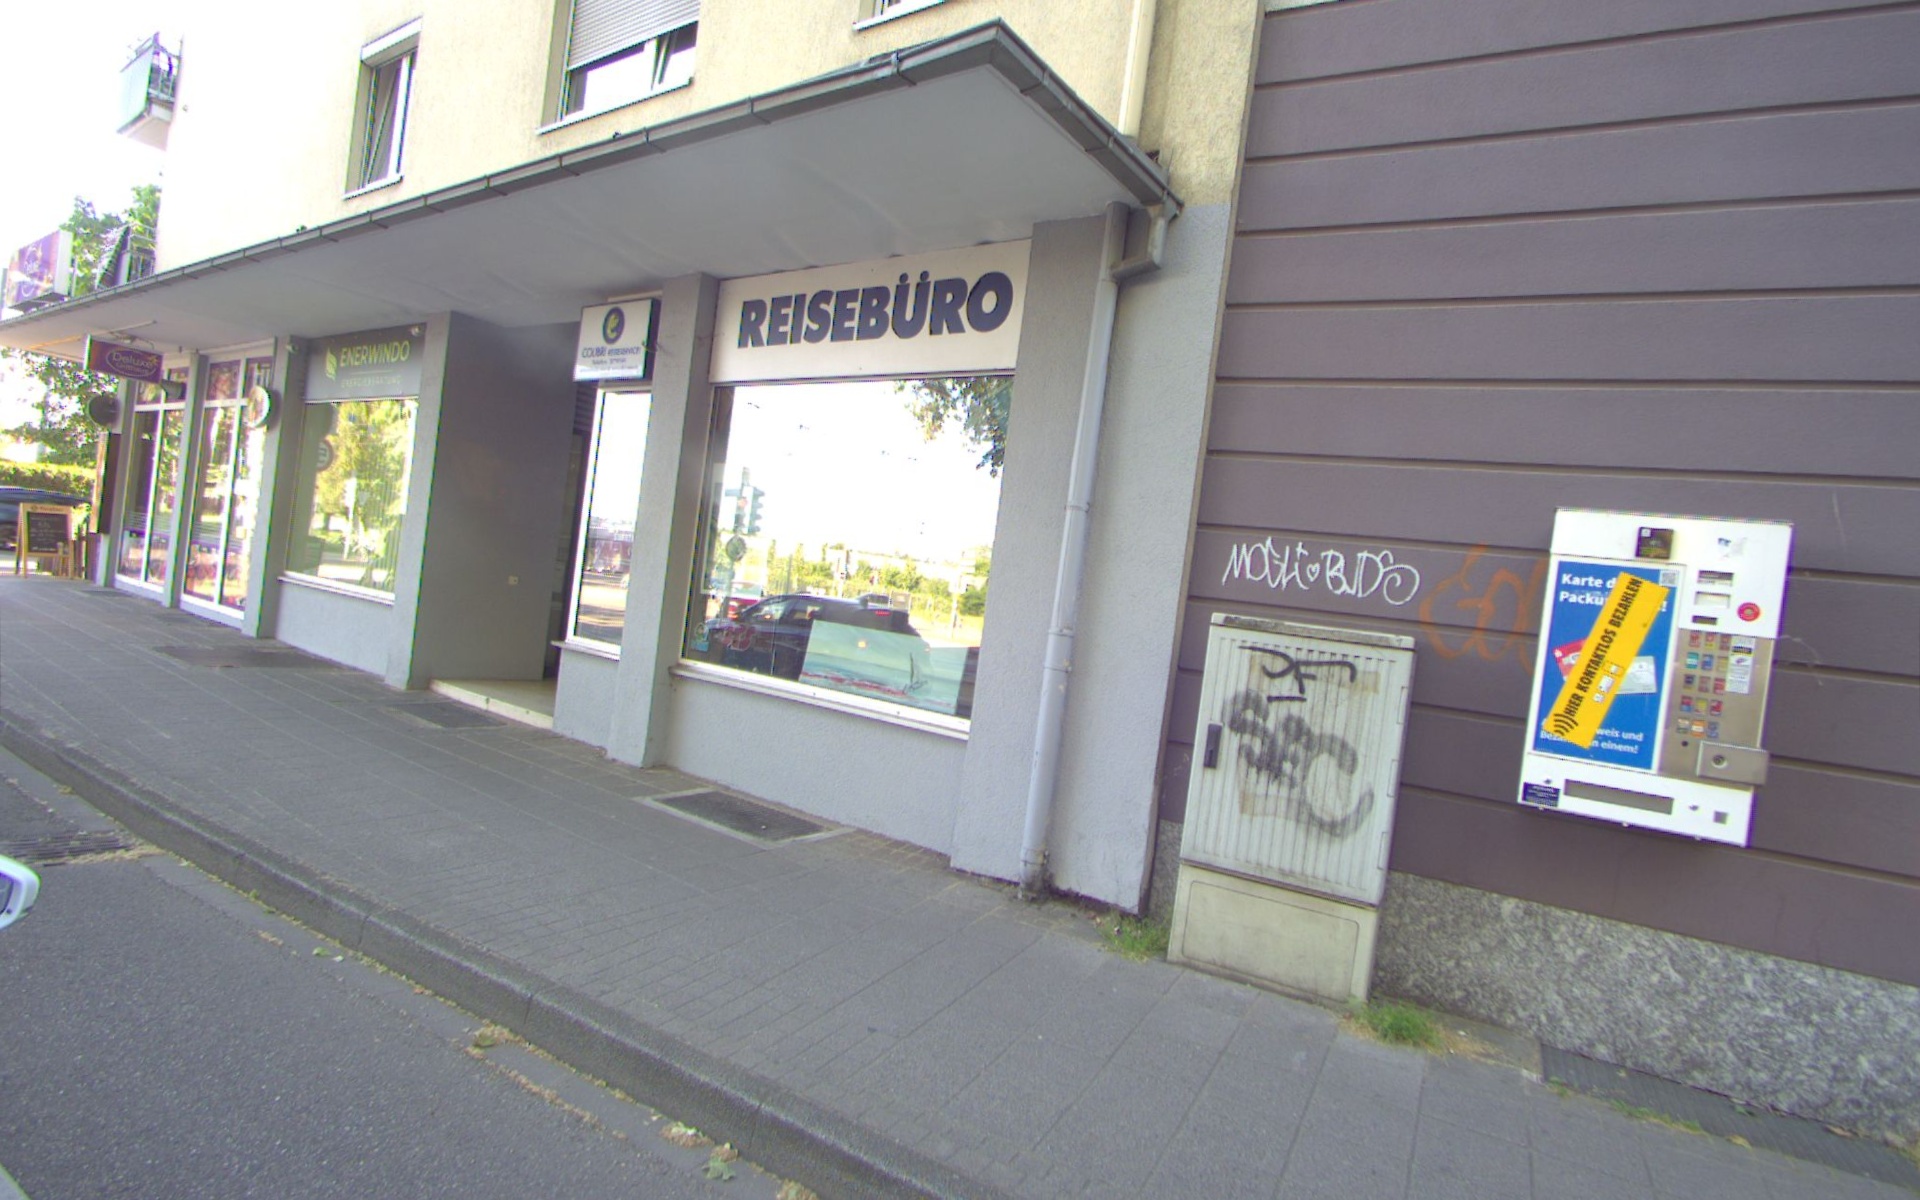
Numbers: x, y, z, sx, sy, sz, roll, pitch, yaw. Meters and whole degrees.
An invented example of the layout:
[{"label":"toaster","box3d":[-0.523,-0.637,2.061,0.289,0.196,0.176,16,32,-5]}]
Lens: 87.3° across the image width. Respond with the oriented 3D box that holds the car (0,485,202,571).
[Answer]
[{"label":"car","box3d":[-21.371,-1.784,24.068,1.910,1.491,4.727,7,-1,37]}]
